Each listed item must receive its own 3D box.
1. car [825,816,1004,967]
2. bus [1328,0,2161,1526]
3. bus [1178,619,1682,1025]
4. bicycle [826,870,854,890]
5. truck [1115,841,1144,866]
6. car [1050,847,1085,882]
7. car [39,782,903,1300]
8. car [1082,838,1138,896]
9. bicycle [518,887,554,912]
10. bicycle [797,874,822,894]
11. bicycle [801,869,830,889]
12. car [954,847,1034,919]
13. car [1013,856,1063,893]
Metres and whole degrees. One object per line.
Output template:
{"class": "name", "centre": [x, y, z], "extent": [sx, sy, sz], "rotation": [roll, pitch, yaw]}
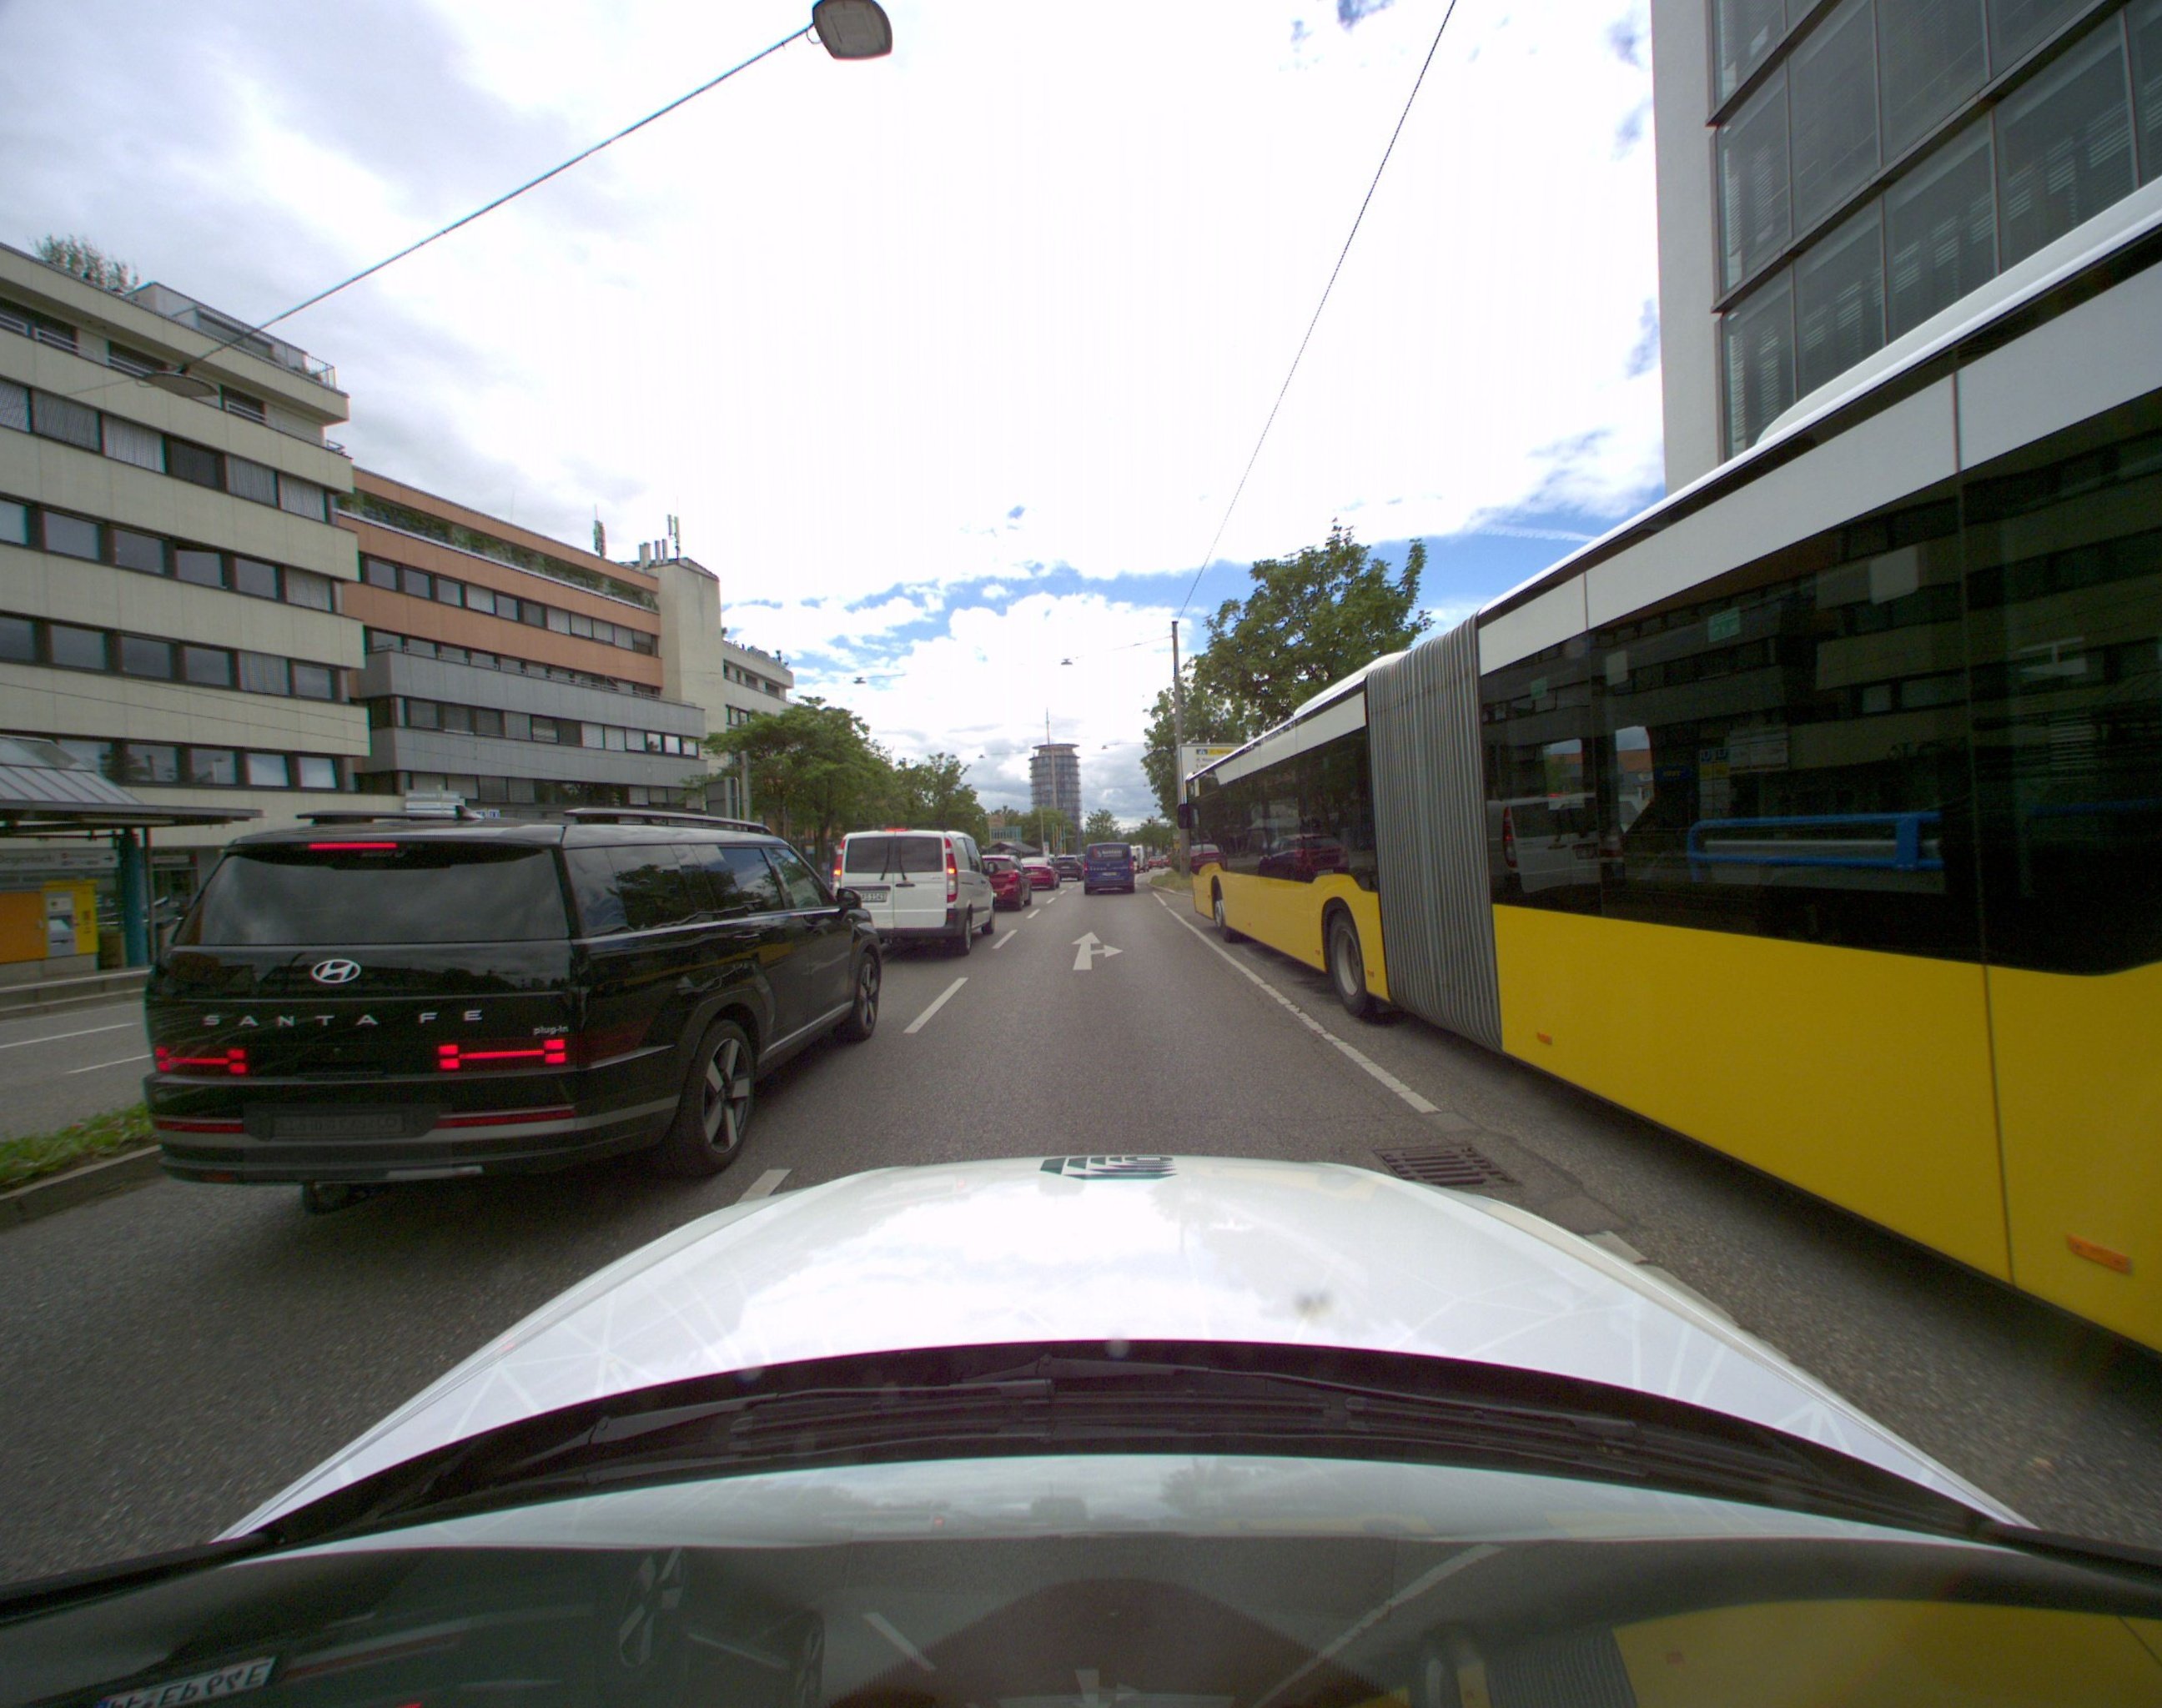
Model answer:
{"class": "car", "centre": [-2.551, 0.514, 13.828], "extent": [1.867, 2.013, 5.076], "rotation": [-2, 0, 1]}
{"class": "bus", "centre": [3.513, -0.236, 2.241], "extent": [2.704, 3.108, 8.867], "rotation": [-4, 1, -1]}
{"class": "bus", "centre": [3.444, -0.314, 11.298], "extent": [2.705, 3.163, 9.122], "rotation": [-4, 1, -1]}
{"class": "bicycle", "centre": [-16.217, 1.758, 54.774], "extent": [0.619, 1.253, 1.694], "rotation": [-4, -1, 42]}
{"class": "truck", "centre": [4.595, -0.045, 76.384], "extent": [1.981, 2.165, 5.575], "rotation": [-1, 0, 10]}
{"class": "car", "centre": [-0.841, 0.635, 52.005], "extent": [1.986, 2.013, 4.002], "rotation": [-2, 1, 1]}
{"class": "car", "centre": [-2.649, 0.658, 5.193], "extent": [1.916, 1.751, 4.678], "rotation": [-2, 0, 0]}
{"class": "car", "centre": [1.099, 0.480, 31.473], "extent": [1.941, 1.965, 4.543], "rotation": [-3, -1, 1]}
{"class": "bicycle", "centre": [-30.517, 2.554, 45.582], "extent": [1.949, 1.319, 0.710], "rotation": [-4, -1, 26]}
{"class": "bicycle", "centre": [-18.020, 1.972, 54.005], "extent": [1.479, 1.253, 0.427], "rotation": [-3, 0, -45]}
{"class": "bicycle", "centre": [-17.754, 1.679, 54.466], "extent": [0.619, 1.253, 1.694], "rotation": [-4, -1, 42]}
{"class": "car", "centre": [-2.370, 0.770, 23.136], "extent": [1.741, 1.723, 3.998], "rotation": [-5, -1, -1]}
{"class": "car", "centre": [-1.893, 0.910, 36.587], "extent": [1.862, 1.486, 4.001], "rotation": [-3, -1, 1]}
